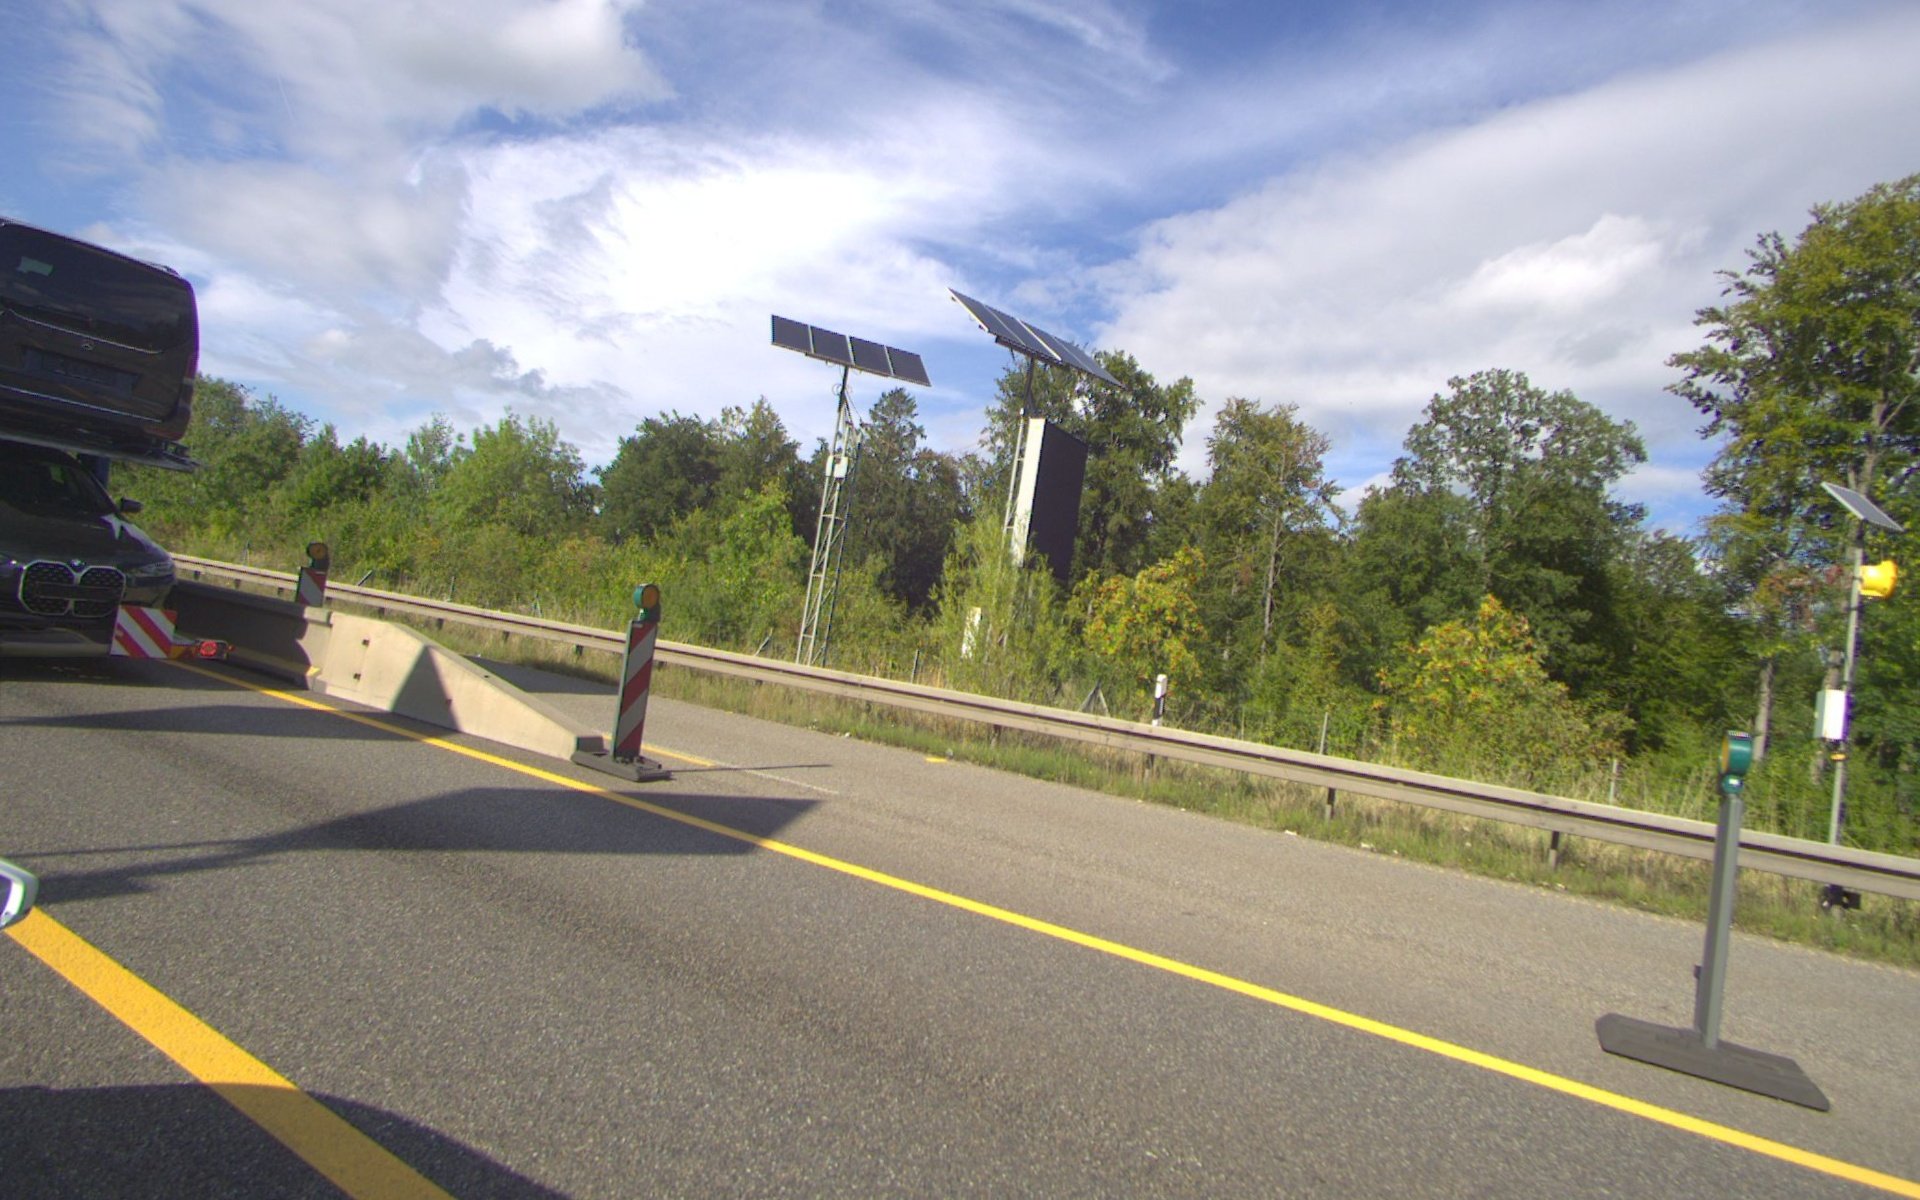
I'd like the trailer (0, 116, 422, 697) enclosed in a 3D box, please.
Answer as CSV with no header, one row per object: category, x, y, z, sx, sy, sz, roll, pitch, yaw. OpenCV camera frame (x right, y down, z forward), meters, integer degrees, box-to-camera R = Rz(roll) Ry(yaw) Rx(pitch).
trailer,-13.399,-2.094,12.734,15.958,4.245,3.733,7,-2,32

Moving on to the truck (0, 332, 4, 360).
truck,-20.432,-2.901,17.145,7.819,4.245,3.769,7,-2,32
